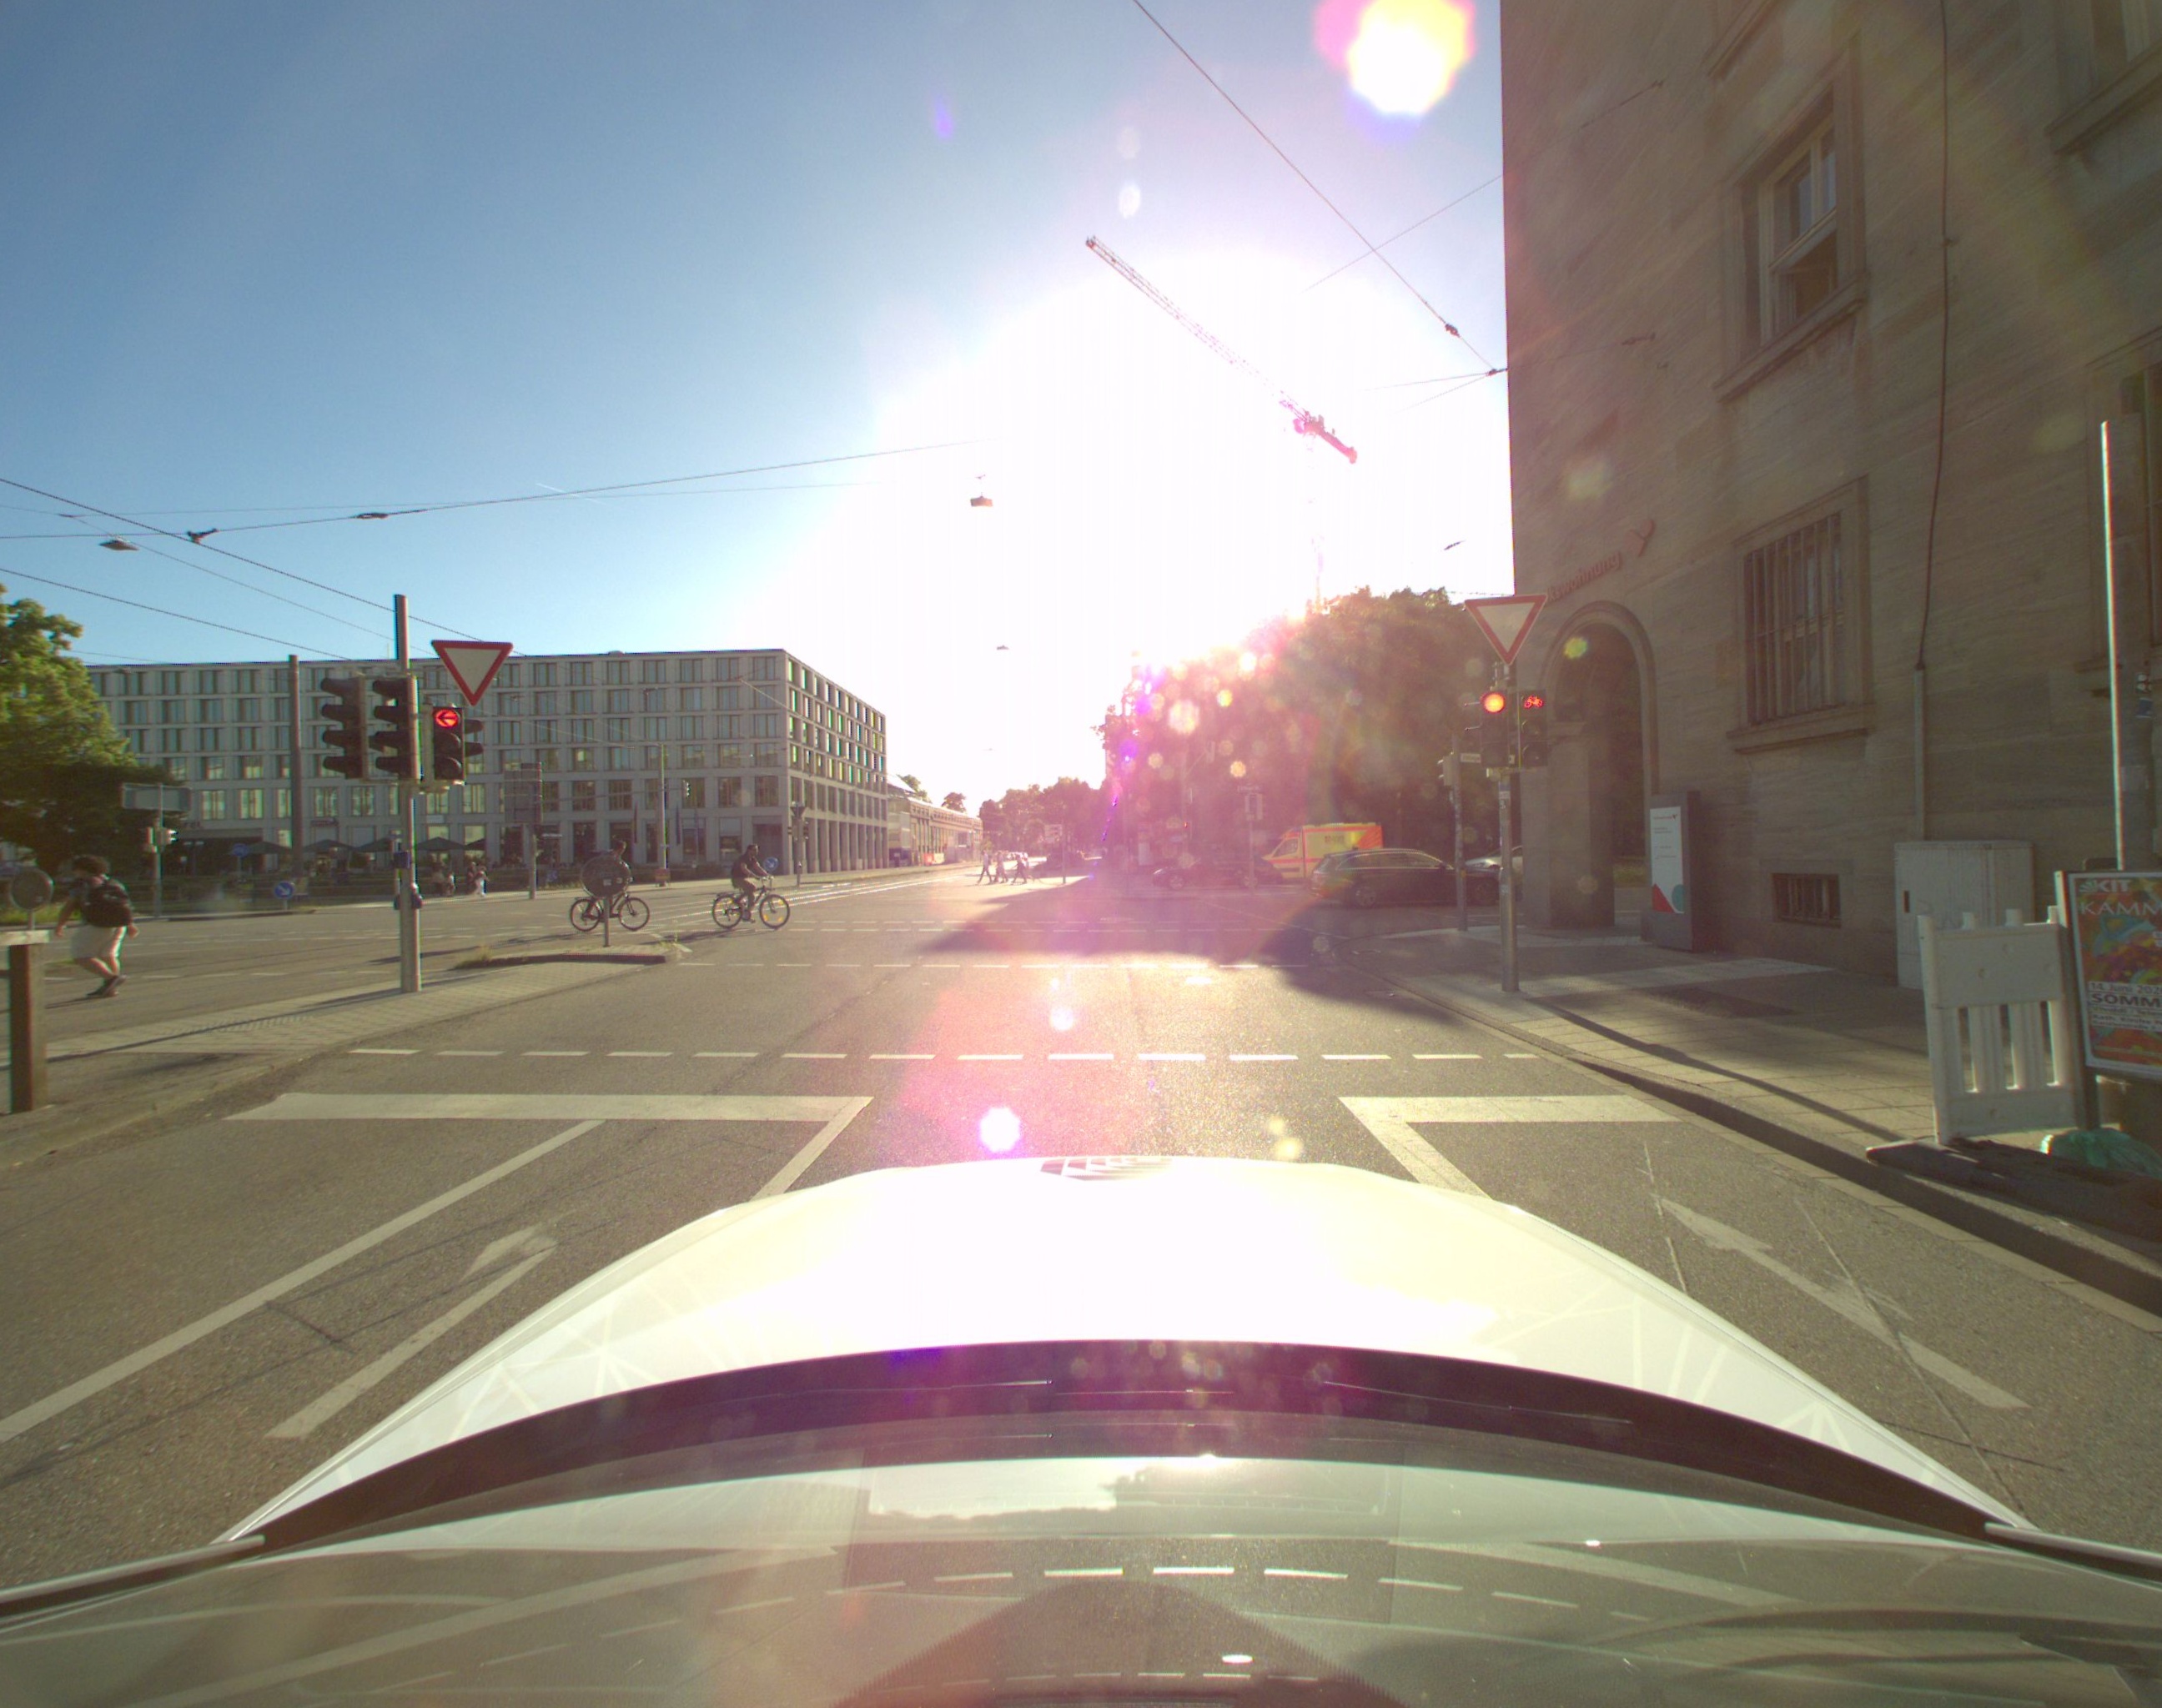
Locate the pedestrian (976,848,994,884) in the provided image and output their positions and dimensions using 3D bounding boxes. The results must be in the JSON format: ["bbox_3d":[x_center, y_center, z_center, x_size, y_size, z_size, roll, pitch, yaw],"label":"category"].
[{"bbox_3d":[-5.260,0.644,44.640,0.797,1.918,0.638,-2,0,7],"label":"pedestrian"}]

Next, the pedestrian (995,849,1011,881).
[{"bbox_3d":[-4.472,0.647,46.780,0.735,1.803,0.533,-2,0,7],"label":"pedestrian"}]

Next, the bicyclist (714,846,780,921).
[{"bbox_3d":[-7.049,0.607,17.234,0.997,1.512,0.768,-1,2,5],"label":"bicyclist"}]

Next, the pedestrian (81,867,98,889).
[{"bbox_3d":[-75.857,1.816,62.316,0.538,1.669,0.561,0,-1,-2],"label":"pedestrian"}]

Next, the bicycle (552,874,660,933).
[{"bbox_3d":[-10.295,1.066,17.682,1.864,1.158,0.767,-2,1,4],"label":"bicycle"}]

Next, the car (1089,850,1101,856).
[{"bbox_3d":[3.658,-0.207,213.652,3.207,1.588,1.445,0,-1,-3],"label":"car"}]

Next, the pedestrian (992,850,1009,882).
[{"bbox_3d":[-4.541,0.665,45.880,0.735,1.803,0.717,-2,0,7],"label":"pedestrian"}]

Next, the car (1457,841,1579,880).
[{"bbox_3d":[17.586,0.270,32.873,4.029,1.434,1.632,-2,-1,0],"label":"car"}]

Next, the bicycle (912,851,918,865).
[{"bbox_3d":[-26.788,0.670,131.543,0.569,2.296,1.422,-2,0,0],"label":"bicycle"}]

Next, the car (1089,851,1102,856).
[{"bbox_3d":[3.763,-0.118,211.409,3.210,1.263,1.371,0,-1,-4],"label":"car"}]

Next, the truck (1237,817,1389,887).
[{"bbox_3d":[10.796,-0.091,38.385,6.442,3.016,2.727,-1,0,2],"label":"truck"}]

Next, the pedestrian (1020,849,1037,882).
[{"bbox_3d":[-2.969,0.647,46.146,0.865,1.803,0.533,-2,0,7],"label":"pedestrian"}]

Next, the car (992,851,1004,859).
[{"bbox_3d":[-15.930,0.167,156.920,1.888,1.607,4.499,-2,0,0],"label":"car"}]

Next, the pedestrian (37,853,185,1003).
[{"bbox_3d":[-11.696,0.859,9.854,0.756,1.717,0.826,-2,0,-3],"label":"pedestrian"}]

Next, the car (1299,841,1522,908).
[{"bbox_3d":[8.375,0.497,21.113,4.918,1.511,2.213,-2,1,4],"label":"car"}]

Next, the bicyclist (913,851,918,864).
[{"bbox_3d":[-26.798,0.533,131.584,0.569,2.024,0.762,-2,0,0],"label":"bicyclist"}]

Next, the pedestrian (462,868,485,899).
[{"bbox_3d":[-33.229,1.591,44.547,0.790,1.644,0.621,-2,0,-3],"label":"pedestrian"}]

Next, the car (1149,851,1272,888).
[{"bbox_3d":[5.165,0.641,33.006,4.718,1.415,2.000,-1,-2,1],"label":"car"}]

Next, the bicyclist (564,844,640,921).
[{"bbox_3d":[-10.382,0.608,17.682,1.119,1.594,0.767,-2,1,4],"label":"bicyclist"}]

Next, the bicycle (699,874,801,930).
[{"bbox_3d":[-6.985,1.011,17.237,1.804,1.085,0.768,-1,2,5],"label":"bicycle"}]

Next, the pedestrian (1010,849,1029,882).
[{"bbox_3d":[-3.439,0.658,45.638,0.865,1.803,0.665,-2,0,7],"label":"pedestrian"}]

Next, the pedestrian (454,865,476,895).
[{"bbox_3d":[-34.498,1.462,45.601,0.692,1.644,0.621,-2,0,-3],"label":"pedestrian"}]

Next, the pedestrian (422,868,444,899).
[{"bbox_3d":[-35.402,1.598,44.486,0.690,1.644,0.623,-2,0,9],"label":"pedestrian"}]

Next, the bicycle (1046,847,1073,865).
[{"bbox_3d":[-2.149,0.218,81.729,2.538,1.743,1.038,0,-1,1],"label":"bicycle"}]
